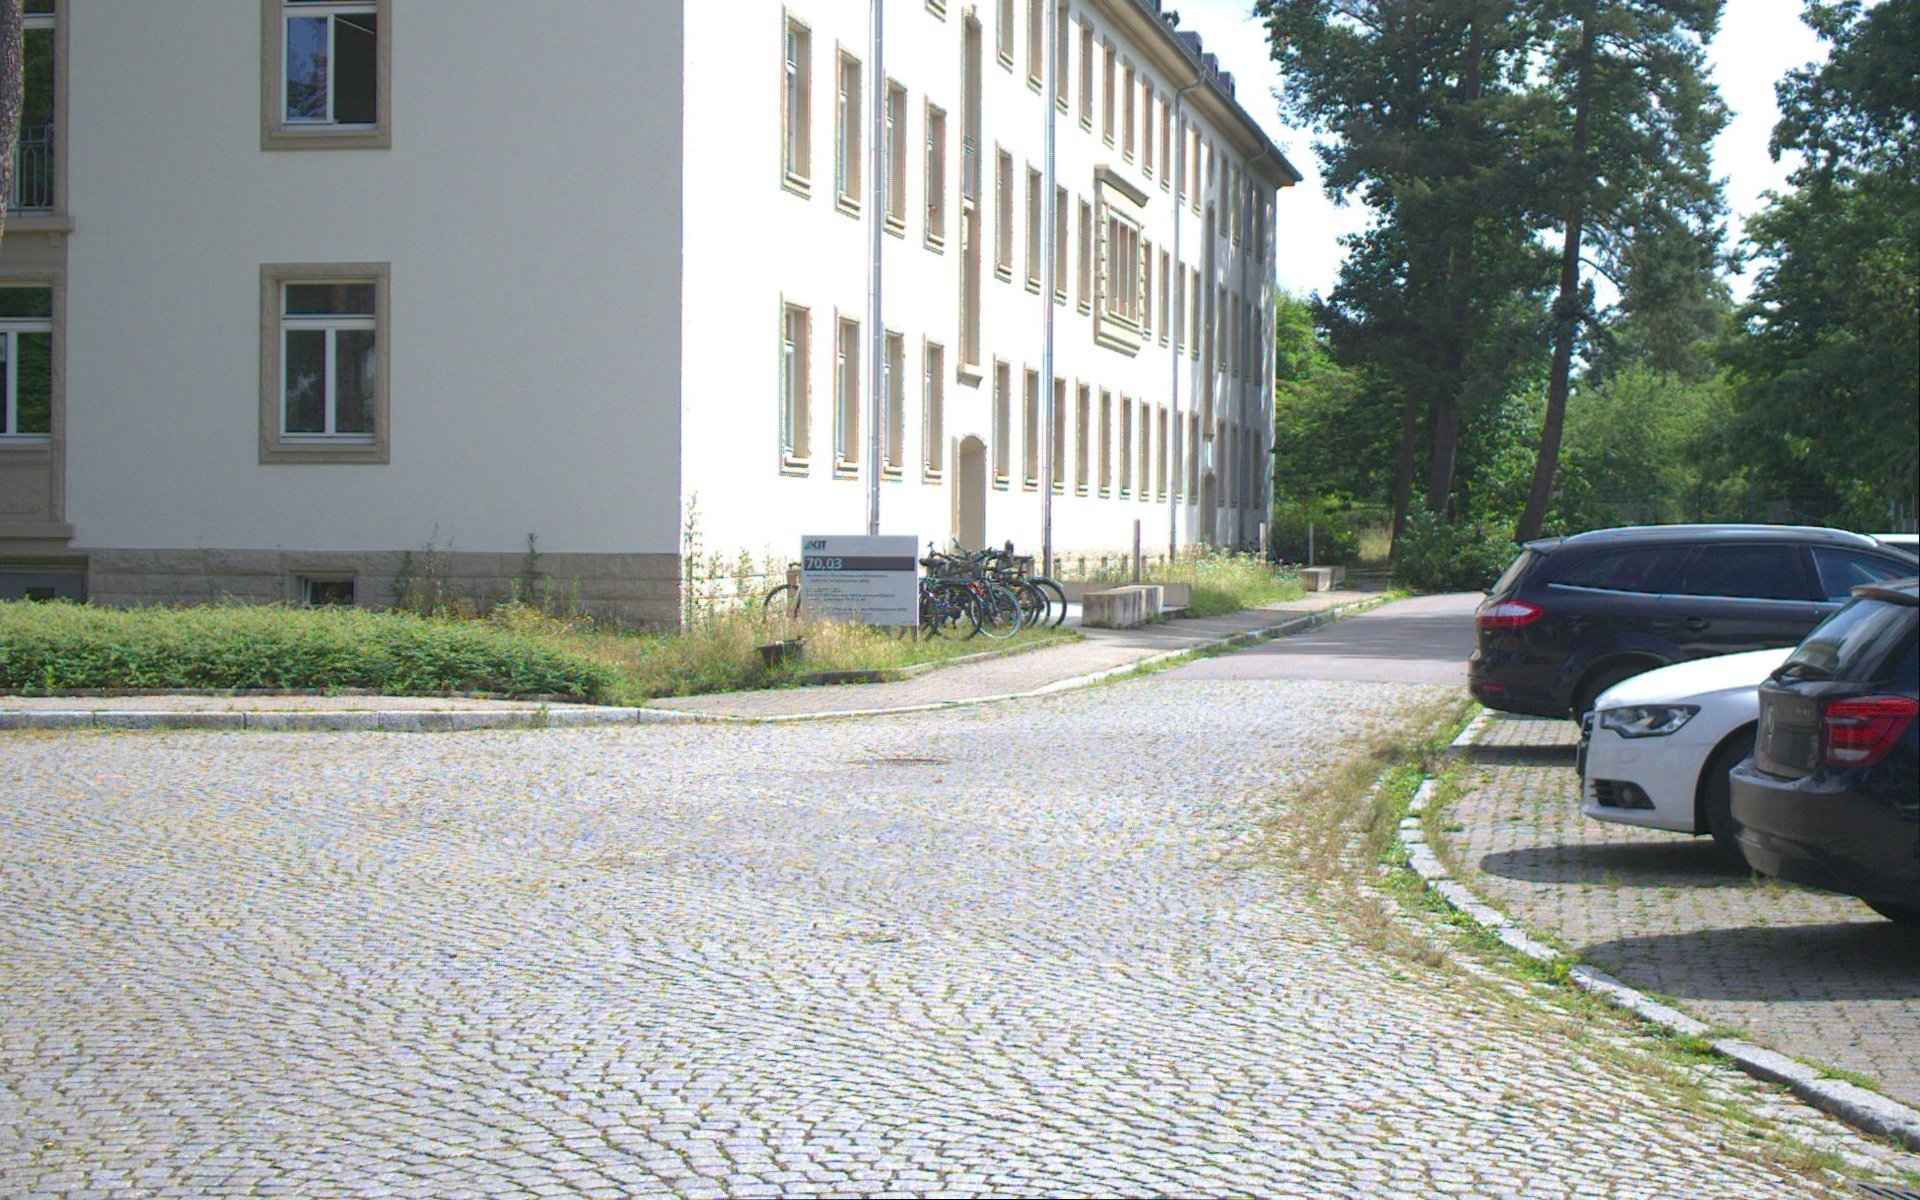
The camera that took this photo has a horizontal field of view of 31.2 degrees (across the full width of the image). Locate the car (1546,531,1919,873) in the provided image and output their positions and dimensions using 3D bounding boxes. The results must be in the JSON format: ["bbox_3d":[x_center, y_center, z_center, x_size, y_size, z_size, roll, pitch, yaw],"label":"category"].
[{"bbox_3d":[5.192,0.422,15.886,4.864,1.467,1.874,-1,2,9],"label":"car"}]

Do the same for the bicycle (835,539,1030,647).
[{"bbox_3d":[-0.325,-0.089,40.806,2.224,1.256,0.622,0,1,17],"label":"bicycle"}]

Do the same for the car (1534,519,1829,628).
[{"bbox_3d":[10.678,-0.393,50.935,4.189,1.538,1.819,-1,0,12],"label":"car"}]

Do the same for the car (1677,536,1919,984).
[{"bbox_3d":[4.995,0.507,12.674,4.324,1.495,1.830,-1,2,1],"label":"car"}]

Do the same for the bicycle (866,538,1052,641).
[{"bbox_3d":[-0.007,-0.139,42.708,2.223,1.256,0.623,0,1,13],"label":"bicycle"}]

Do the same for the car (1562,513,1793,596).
[{"bbox_3d":[13.510,-0.856,64.750,4.189,1.479,1.819,-1,0,12],"label":"car"}]

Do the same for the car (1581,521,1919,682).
[{"bbox_3d":[8.148,0.004,33.029,4.209,1.479,1.819,-1,0,12],"label":"car"}]

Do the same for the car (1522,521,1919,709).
[{"bbox_3d":[6.895,0.109,28.444,4.400,1.479,1.765,-1,0,9],"label":"car"}]

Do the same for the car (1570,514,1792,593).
[{"bbox_3d":[14.125,-0.907,67.424,4.189,1.479,1.819,-1,0,12],"label":"car"}]

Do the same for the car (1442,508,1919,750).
[{"bbox_3d":[5.739,0.177,23.258,4.854,1.547,1.879,-1,0,9],"label":"car"}]

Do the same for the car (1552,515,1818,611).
[{"bbox_3d":[11.894,-0.601,56.422,4.189,1.479,1.819,-1,0,12],"label":"car"}]

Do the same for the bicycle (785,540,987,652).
[{"bbox_3d":[-0.844,-0.056,39.135,2.224,1.256,0.622,0,1,17],"label":"bicycle"}]

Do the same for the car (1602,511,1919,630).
[{"bbox_3d":[10.697,-0.387,45.435,4.268,1.479,1.819,-1,0,12],"label":"car"}]

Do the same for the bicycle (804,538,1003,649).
[{"bbox_3d":[-0.658,-0.084,39.981,2.223,1.256,0.623,0,1,13],"label":"bicycle"}]

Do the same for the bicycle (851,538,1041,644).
[{"bbox_3d":[-0.170,-0.119,41.713,2.223,1.256,0.623,0,1,13],"label":"bicycle"}]
